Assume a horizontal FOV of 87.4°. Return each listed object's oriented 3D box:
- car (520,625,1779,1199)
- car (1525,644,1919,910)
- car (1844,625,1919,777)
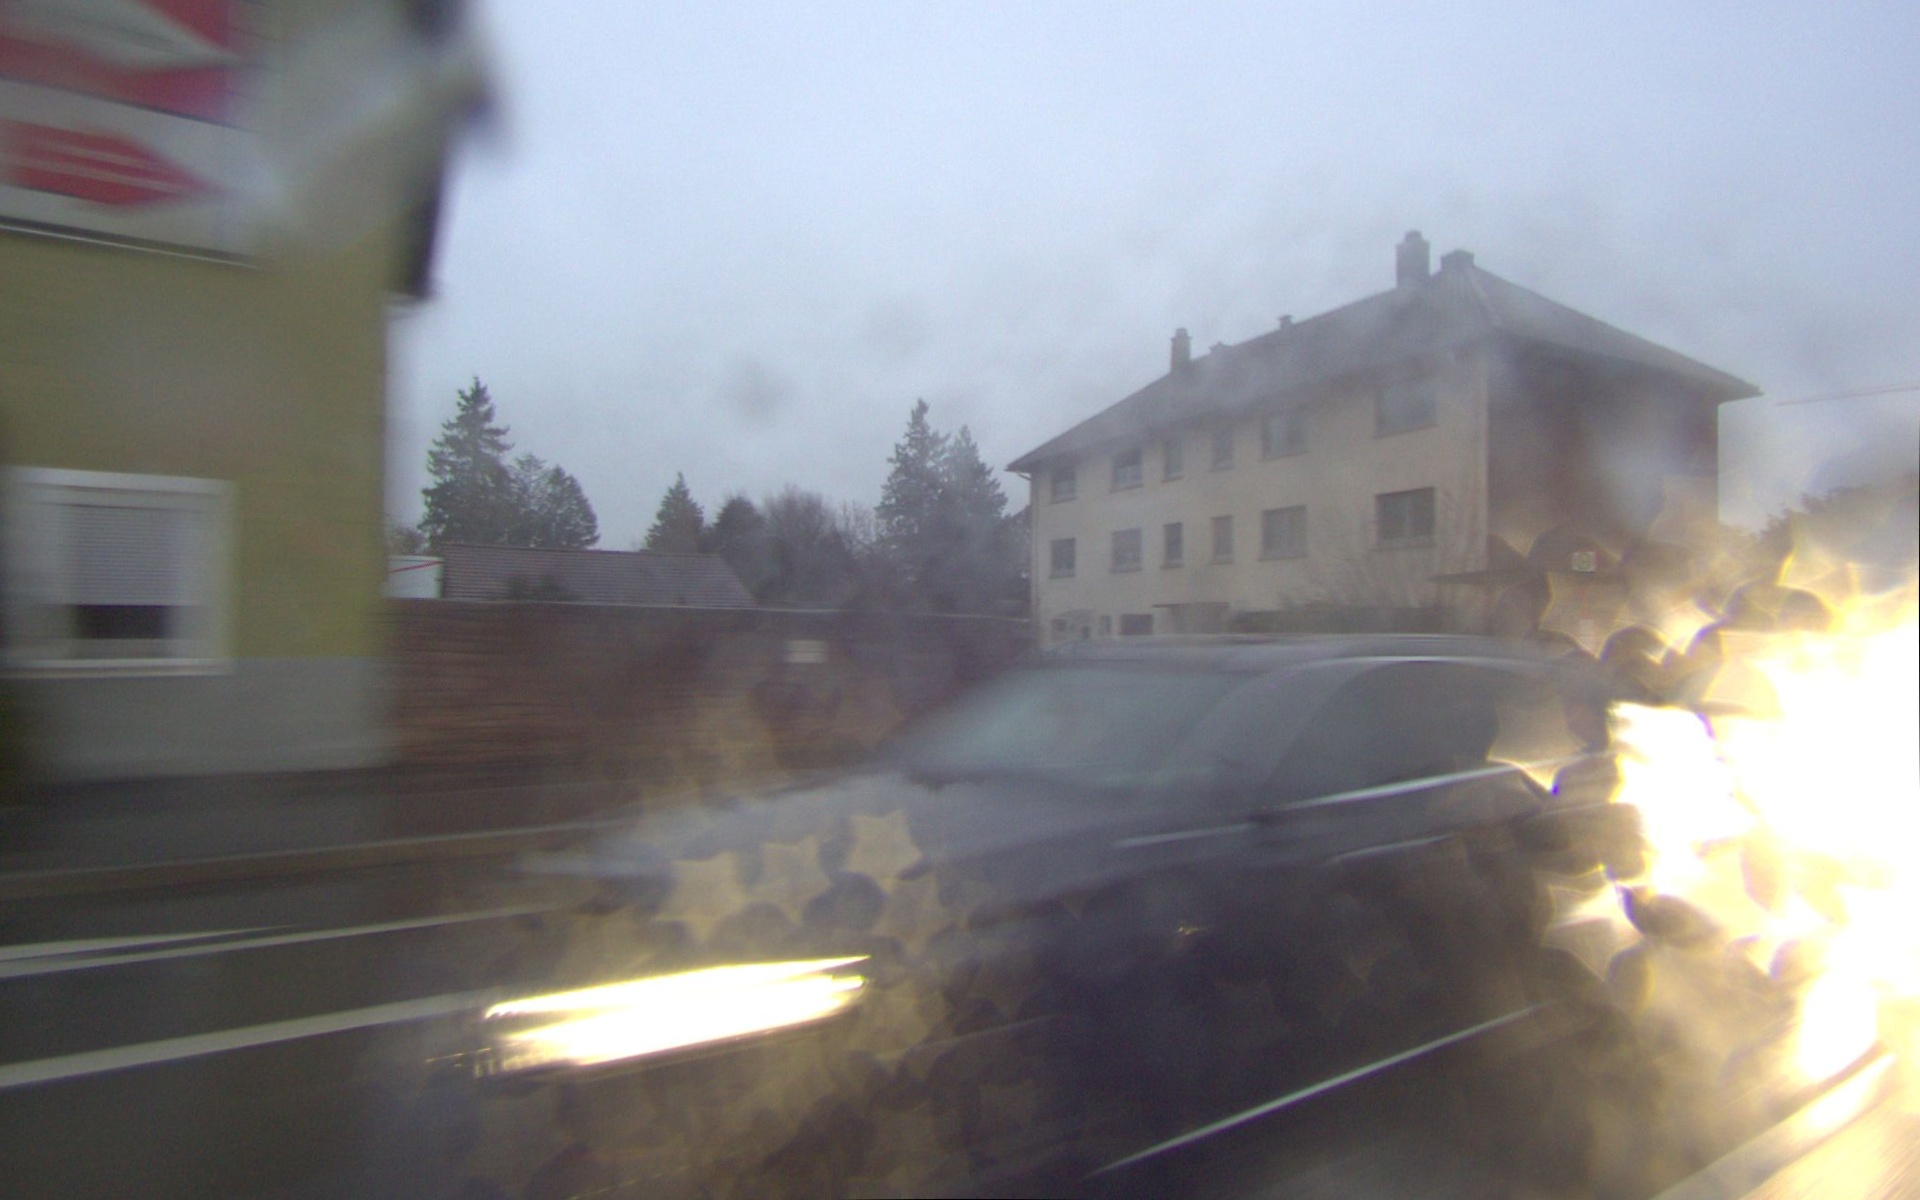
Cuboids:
[{"bbox_3d":[0.904,0.817,3.722,4.471,1.412,1.871,1,-2,-31],"label":"car"},{"bbox_3d":[6.154,1.025,7.285,4.239,1.391,1.815,1,-2,-33],"label":"car"},{"bbox_3d":[12.093,1.091,11.541,4.245,1.606,1.865,1,-2,-34],"label":"car"}]
